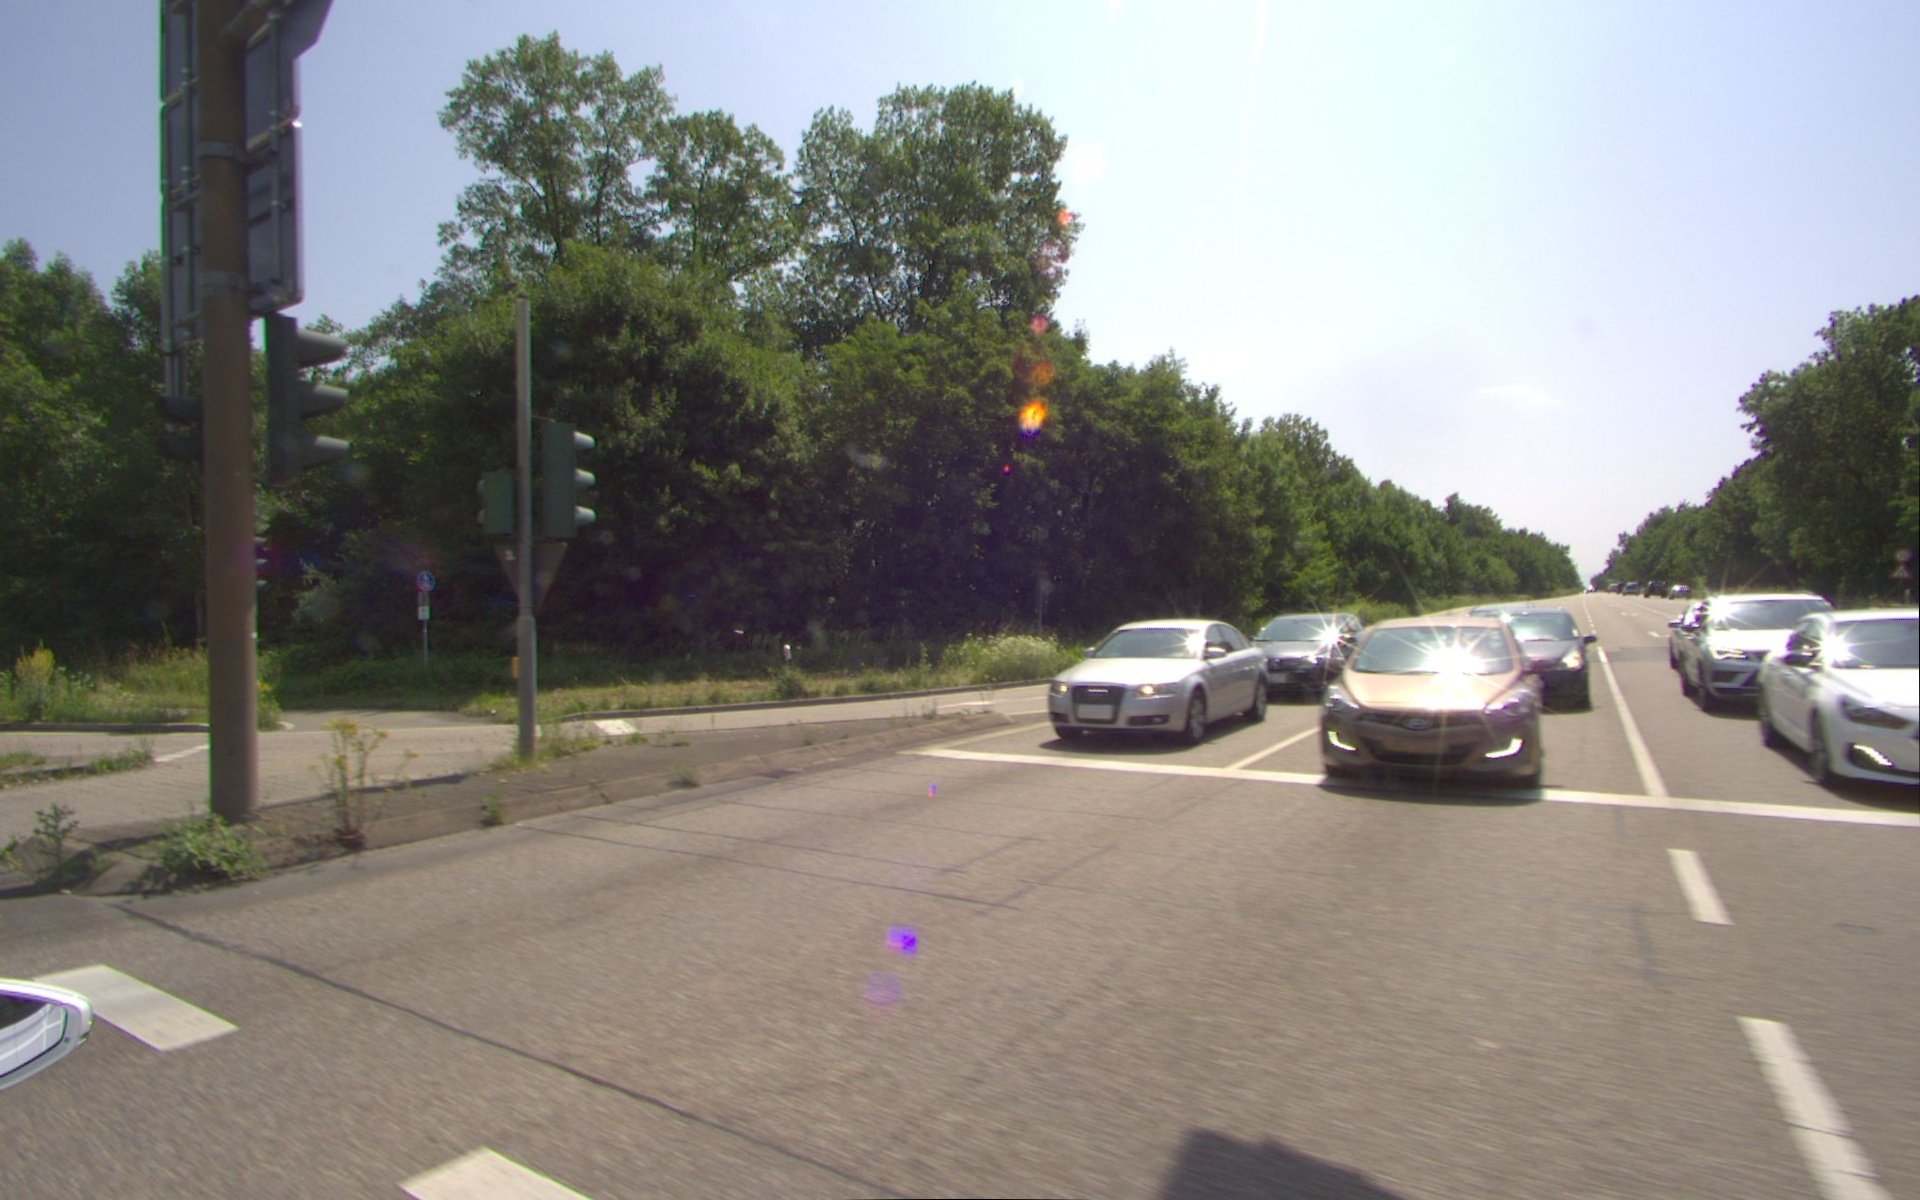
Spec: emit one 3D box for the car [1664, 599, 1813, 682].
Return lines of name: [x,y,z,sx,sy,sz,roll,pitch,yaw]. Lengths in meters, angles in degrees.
car: [15.324,0.719,19.943,1.946,1.433,4.321,-1,0,33]

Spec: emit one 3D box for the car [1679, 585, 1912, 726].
car: [11.612,0.668,14.242,1.971,1.681,4.163,0,0,32]

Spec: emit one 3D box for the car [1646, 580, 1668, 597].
car: [78.185,-1.250,112.307,1.821,1.774,4.437,0,0,33]

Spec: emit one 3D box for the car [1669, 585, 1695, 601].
car: [71.492,-0.682,99.205,1.821,1.518,4.437,0,0,33]

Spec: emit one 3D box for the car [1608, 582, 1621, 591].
car: [114.814,-2.435,175.729,1.821,1.518,4.437,0,0,33]

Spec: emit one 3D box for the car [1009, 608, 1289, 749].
car: [2.736,0.878,13.360,1.992,1.518,4.921,-1,-1,33]

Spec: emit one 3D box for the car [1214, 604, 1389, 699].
car: [6.483,0.857,18.636,2.082,1.518,4.607,-1,0,32]

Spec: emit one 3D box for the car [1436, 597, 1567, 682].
car: [11.586,0.751,21.236,2.108,1.554,5.118,-1,0,32]

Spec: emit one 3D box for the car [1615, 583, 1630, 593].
car: [102.935,-1.844,155.662,1.821,1.518,4.437,0,0,33]

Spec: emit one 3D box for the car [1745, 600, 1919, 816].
car: [8.565,0.784,8.847,1.970,1.555,4.412,0,0,30]

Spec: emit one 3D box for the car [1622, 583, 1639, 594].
car: [91.724,-1.545,136.994,1.821,1.518,4.437,0,0,33]

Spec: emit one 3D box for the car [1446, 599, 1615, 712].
car: [9.264,0.785,16.190,2.092,1.555,4.411,-1,0,32]

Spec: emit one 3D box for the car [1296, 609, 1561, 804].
car: [4.770,0.834,9.937,1.965,1.466,4.086,0,0,30]
